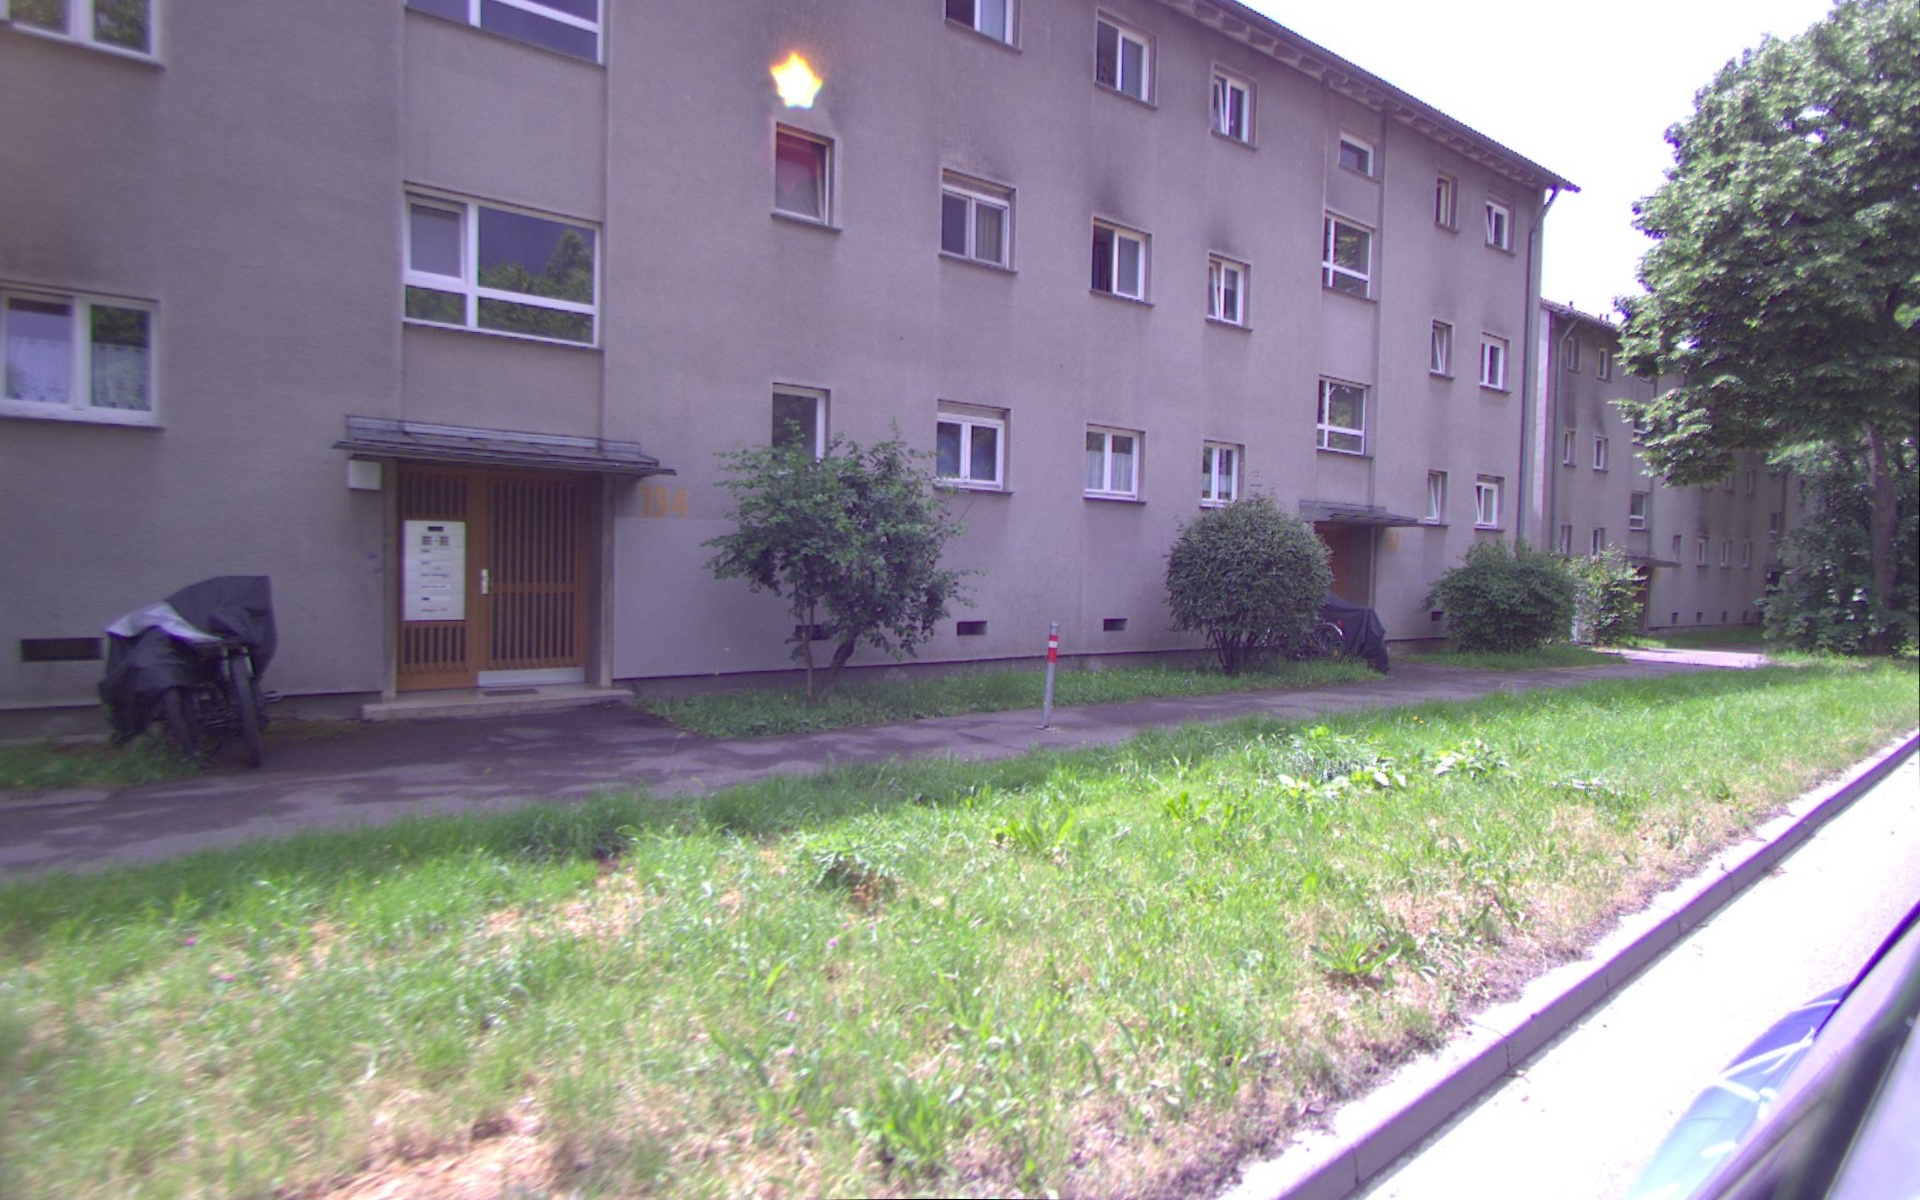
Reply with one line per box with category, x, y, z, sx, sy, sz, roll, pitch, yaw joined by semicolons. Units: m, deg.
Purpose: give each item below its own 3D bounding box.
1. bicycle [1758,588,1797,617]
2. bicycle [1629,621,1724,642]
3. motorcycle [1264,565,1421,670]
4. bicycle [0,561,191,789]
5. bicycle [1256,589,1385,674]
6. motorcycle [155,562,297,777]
bicycle;31.194;0.085;38.629;0.430;1.094;1.747;0;1;14
bicycle;21.041;0.908;29.787;0.660;0.514;2.214;-1;1;-30
motorcycle;5.722;0.214;15.255;0.996;1.447;2.006;1;2;-30
bicycle;-5.804;0.393;6.918;0.667;1.298;2.176;0;2;-32
bicycle;5.174;0.417;14.631;0.446;1.098;1.804;1;2;-35
motorcycle;-5.214;0.384;7.296;0.667;1.298;2.214;0;2;-32
